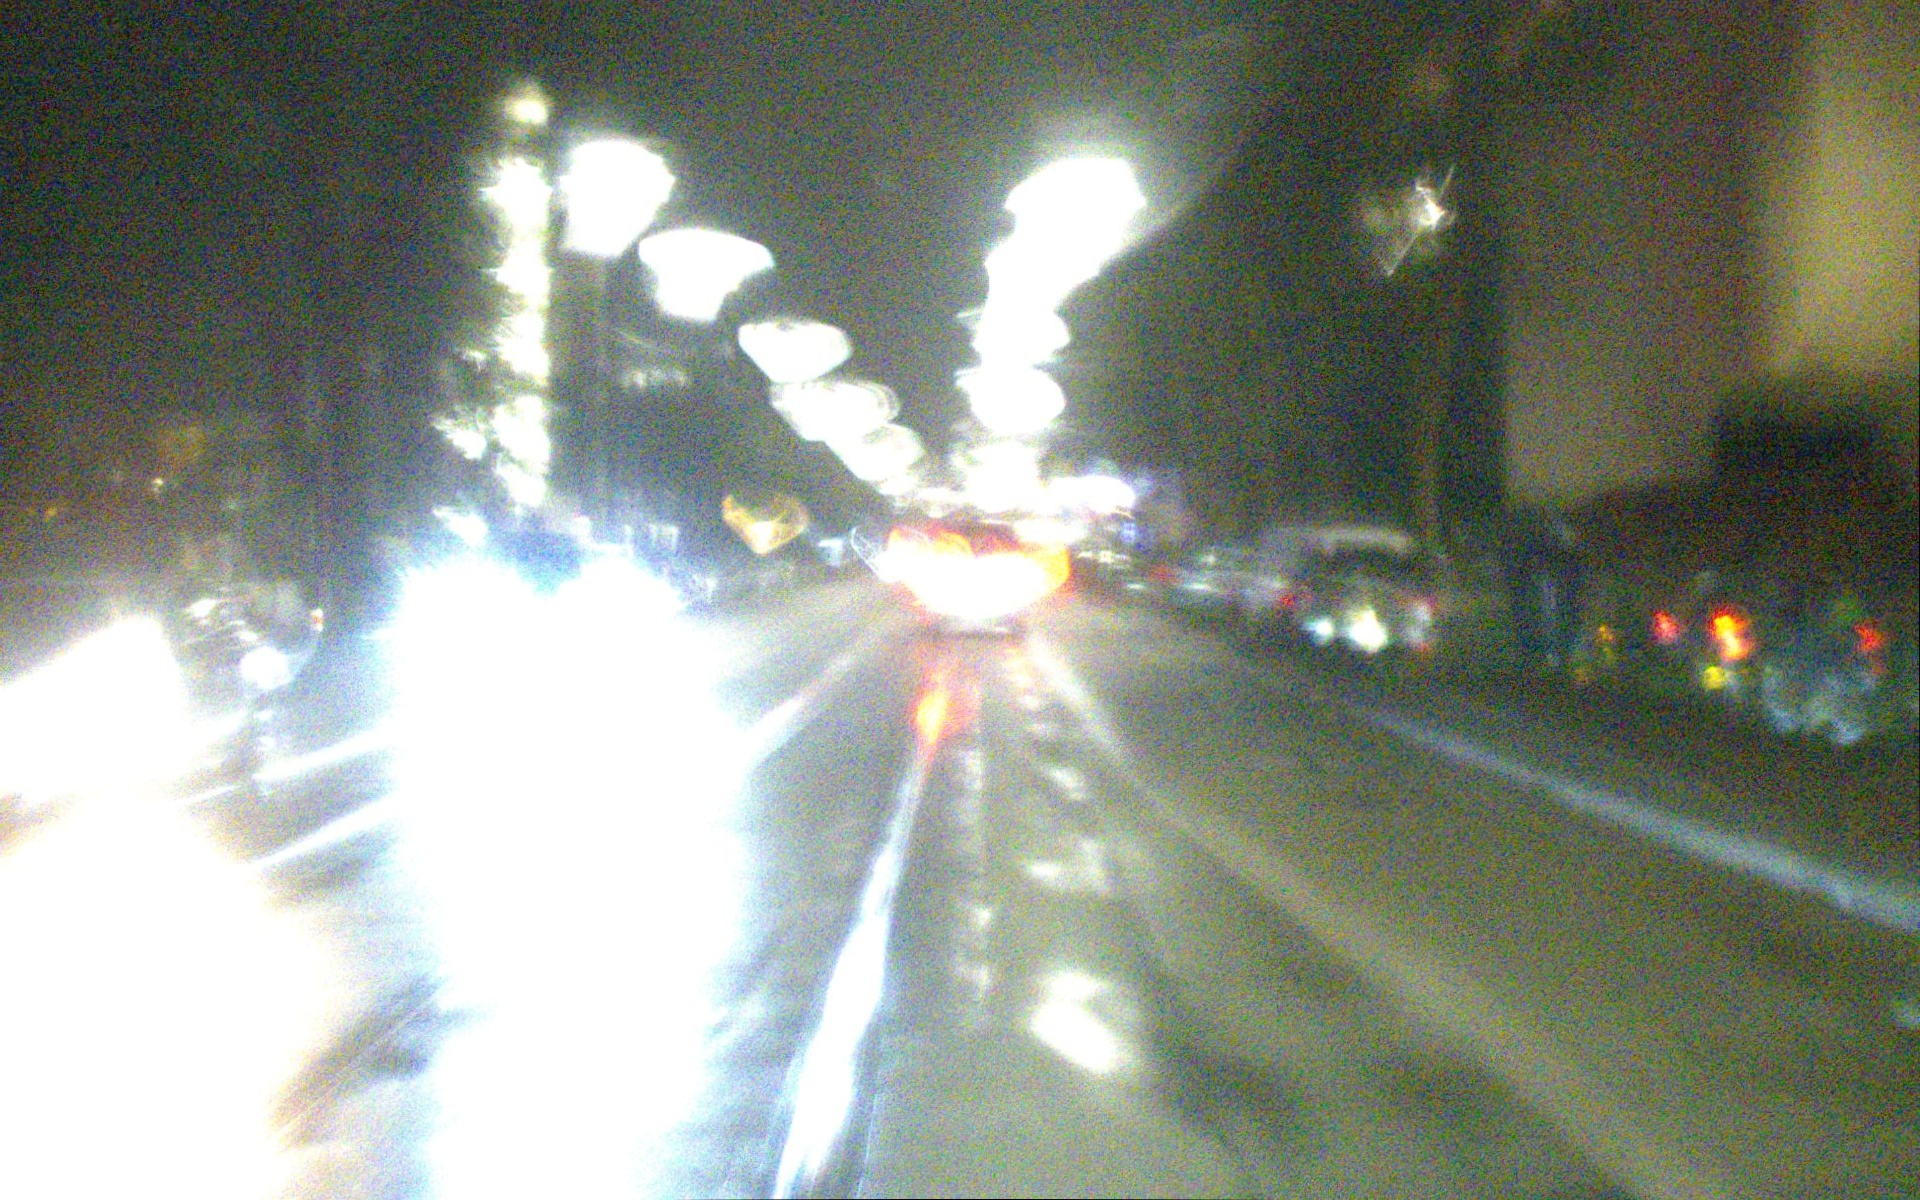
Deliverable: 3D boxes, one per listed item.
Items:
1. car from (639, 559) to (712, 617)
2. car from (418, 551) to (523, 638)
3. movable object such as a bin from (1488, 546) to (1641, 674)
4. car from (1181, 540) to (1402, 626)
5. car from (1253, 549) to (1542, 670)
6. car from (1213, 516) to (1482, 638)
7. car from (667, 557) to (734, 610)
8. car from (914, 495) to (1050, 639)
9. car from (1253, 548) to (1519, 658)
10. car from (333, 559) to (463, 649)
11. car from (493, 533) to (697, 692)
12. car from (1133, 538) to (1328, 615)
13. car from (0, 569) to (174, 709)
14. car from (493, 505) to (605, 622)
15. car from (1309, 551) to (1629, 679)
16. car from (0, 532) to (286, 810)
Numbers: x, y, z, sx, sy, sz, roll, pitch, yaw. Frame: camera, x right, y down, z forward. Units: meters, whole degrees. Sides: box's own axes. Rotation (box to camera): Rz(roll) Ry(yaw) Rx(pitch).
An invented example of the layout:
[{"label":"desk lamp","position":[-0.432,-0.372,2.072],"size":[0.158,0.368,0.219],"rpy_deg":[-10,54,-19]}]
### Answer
[{"label":"car","position":[-9.272,-0.387,112.453],"size":[2.108,1.758,4.966],"rpy_deg":[2,0,-2]},{"label":"car","position":[-9.436,-0.123,66.486],"size":[1.641,1.502,3.620],"rpy_deg":[1,2,-2]},{"label":"movable object such as a bin","position":[6.740,0.104,38.360],"size":[1.347,1.402,1.027],"rpy_deg":[-1,1,-19]},{"label":"car","position":[6.047,-0.335,62.334],"size":[1.691,1.399,4.447],"rpy_deg":[2,3,42]},{"label":"car","position":[5.683,0.090,44.372],"size":[1.806,1.483,3.846],"rpy_deg":[0,1,43]},{"label":"car","position":[6.280,-0.364,55.455],"size":[4.162,1.833,1.962],"rpy_deg":[1,1,-41]},{"label":"car","position":[-9.114,-0.570,120.877],"size":[1.999,1.779,4.000],"rpy_deg":[2,0,0]},{"label":"car","position":[0.343,-0.596,61.287],"size":[2.216,2.433,5.385],"rpy_deg":[1,1,-2]},{"label":"car","position":[5.952,0.054,47.776],"size":[3.825,1.433,1.599],"rpy_deg":[1,1,-44]},{"label":"car","position":[-9.341,0.056,57.337],"size":[1.609,1.423,3.809],"rpy_deg":[1,0,-1]},{"label":"car","position":[-4.476,0.103,42.799],"size":[1.938,1.809,4.385],"rpy_deg":[-2,1,1]},{"label":"car","position":[5.660,-0.486,71.687],"size":[3.878,1.528,1.821],"rpy_deg":[0,1,-41]},{"label":"car","position":[-9.680,0.376,36.474],"size":[1.668,1.382,4.001],"rpy_deg":[2,0,1]},{"label":"car","position":[-9.294,-0.856,78.147],"size":[2.024,2.490,5.608],"rpy_deg":[2,1,-2]},{"label":"car","position":[6.160,0.188,41.420],"size":[3.779,1.453,1.769],"rpy_deg":[1,1,-42]},{"label":"car","position":[-5.288,0.357,20.563],"size":[1.651,1.474,4.206],"rpy_deg":[-2,1,0]}]
